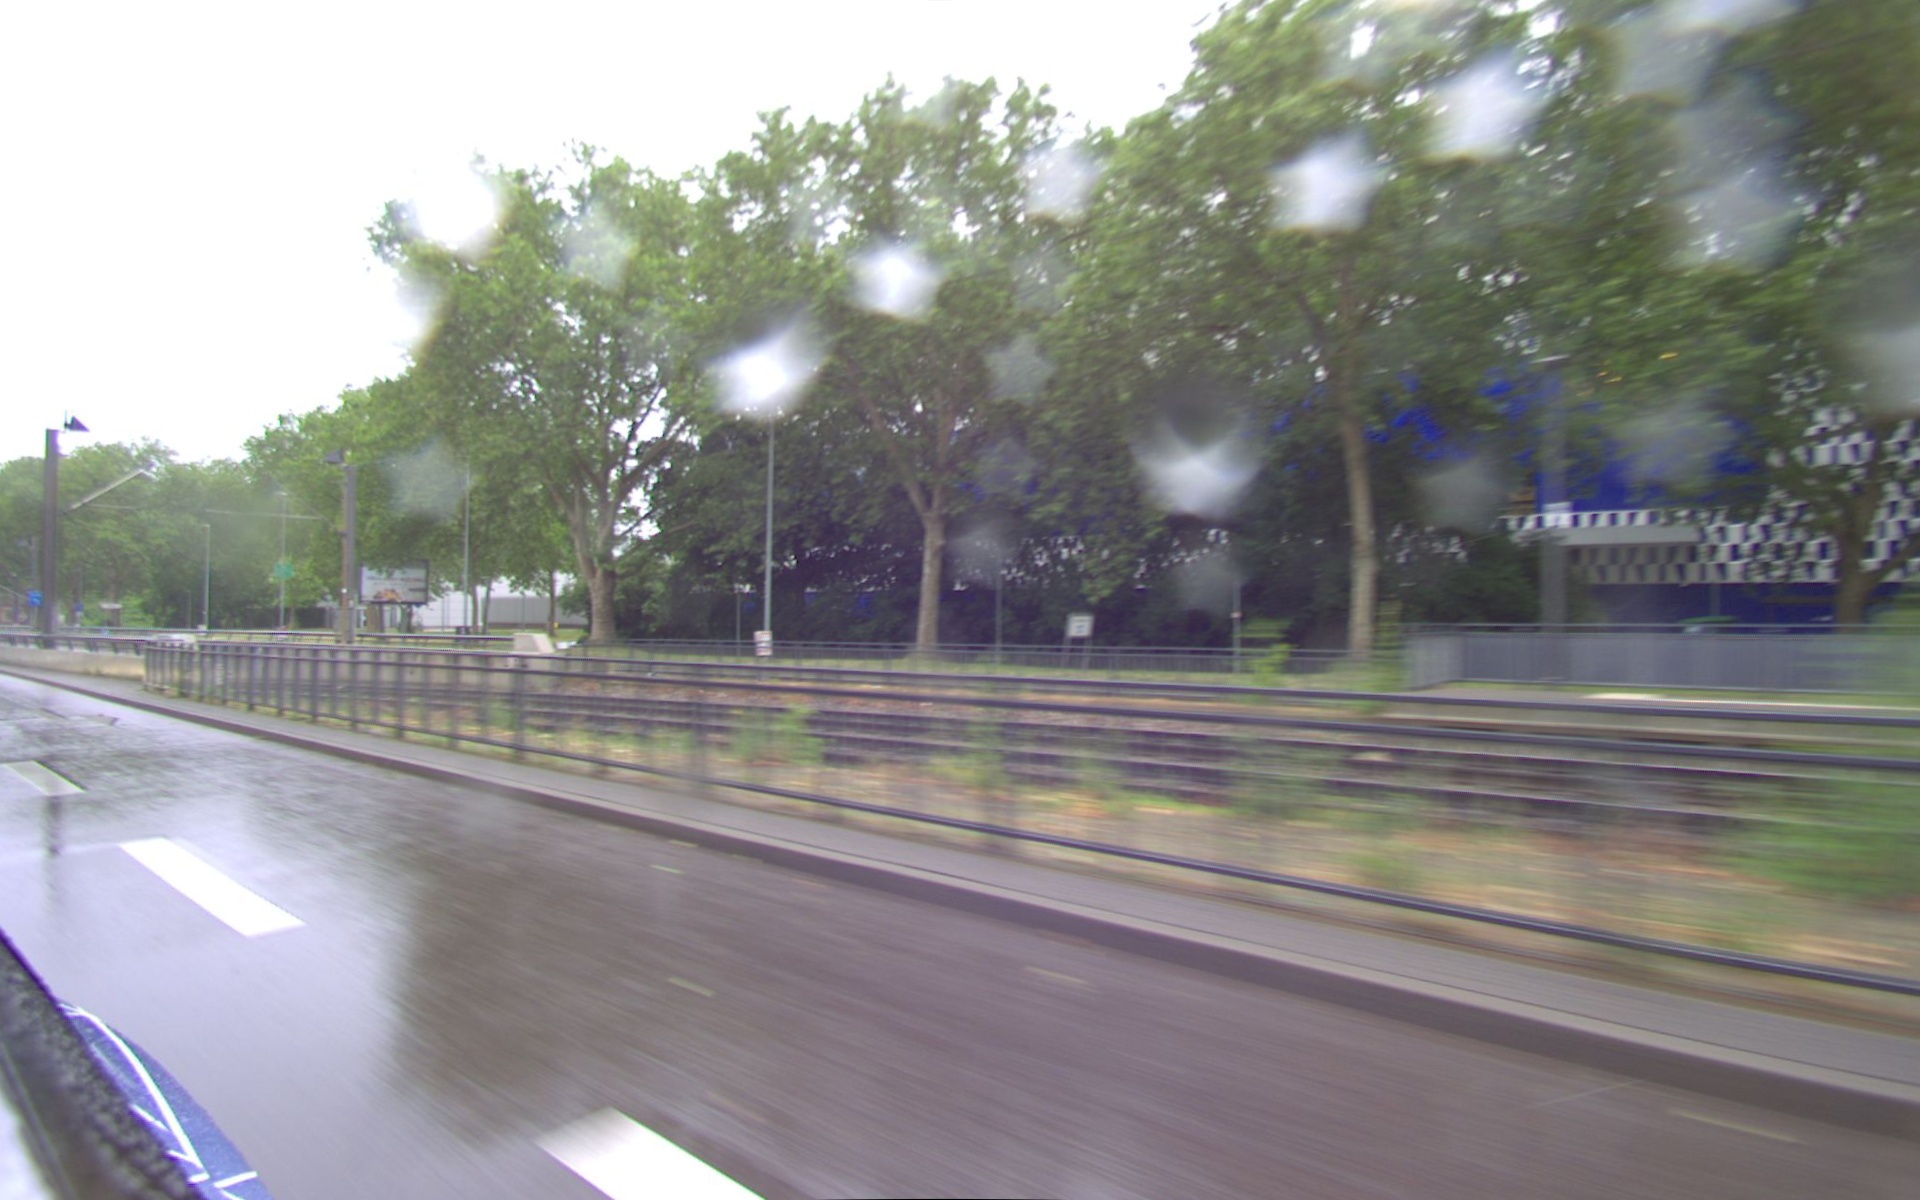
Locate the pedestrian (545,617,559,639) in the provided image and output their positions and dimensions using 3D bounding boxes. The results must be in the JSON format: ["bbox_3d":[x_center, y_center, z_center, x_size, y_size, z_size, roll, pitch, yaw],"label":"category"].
[{"bbox_3d":[-38.936,2.683,96.608,0.789,2.029,0.991,-1,0,40],"label":"pedestrian"}]
